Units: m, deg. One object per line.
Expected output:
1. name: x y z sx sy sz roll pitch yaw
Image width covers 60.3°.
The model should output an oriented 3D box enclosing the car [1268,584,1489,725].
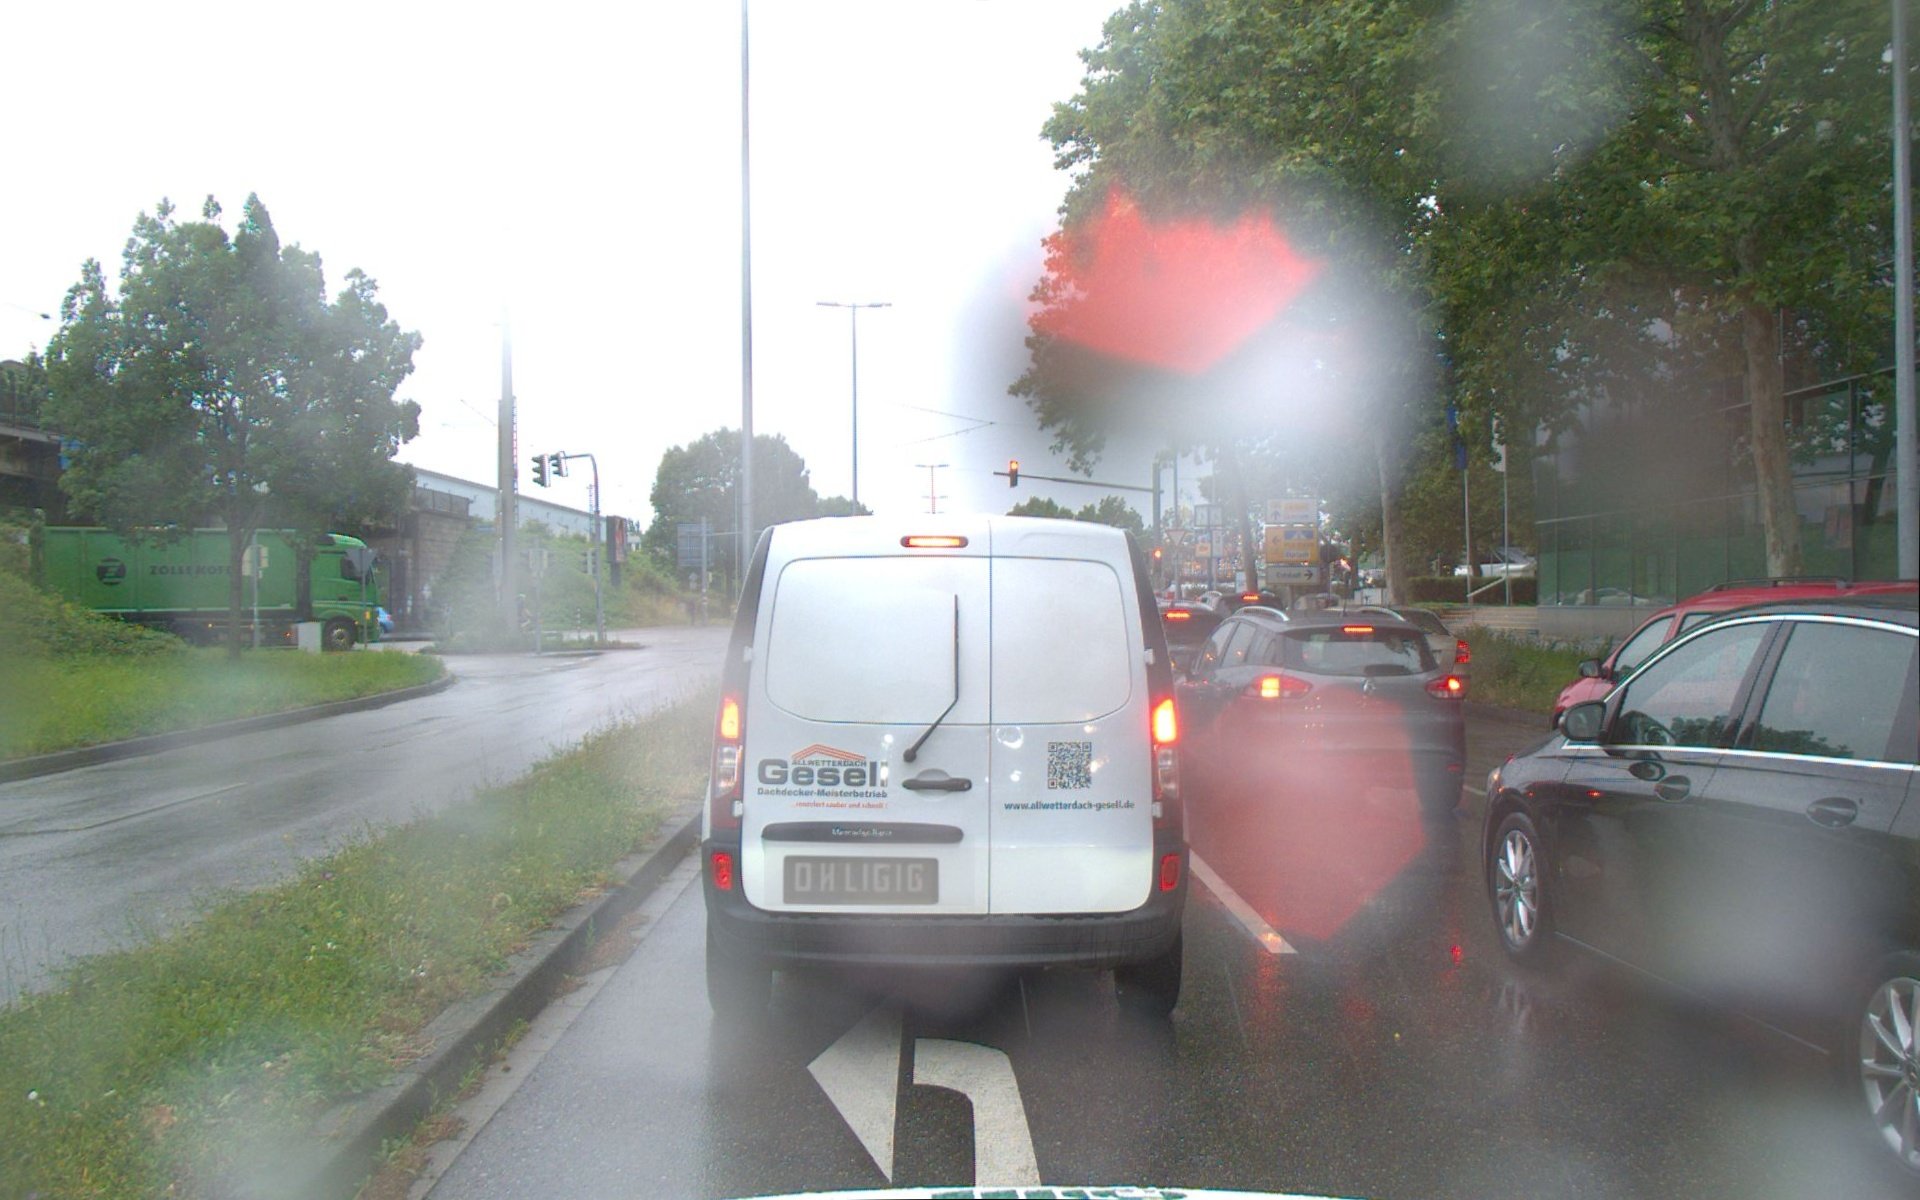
1. car: 5.423 0.641 21.959 1.838 1.641 3.999 2 1 -1

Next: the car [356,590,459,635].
1. car: -24.808 0.535 74.341 1.963 1.920 3.980 2 1 39

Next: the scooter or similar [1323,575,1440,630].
1. scooter or similar: 19.671 0.102 77.359 1.878 2.489 5.239 0 0 -41

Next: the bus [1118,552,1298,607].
1. bus: 16.600 -1.393 111.151 11.727 3.483 2.315 -1 1 -1

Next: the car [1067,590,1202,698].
1. car: 2.870 0.682 27.893 1.816 1.678 3.842 0 0 -1

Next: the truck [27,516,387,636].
1. truck: -23.146 -0.725 51.314 9.956 3.430 2.316 0 0 -37

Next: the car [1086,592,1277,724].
1. car: 2.658 0.647 20.663 1.816 1.486 3.842 0 0 -1

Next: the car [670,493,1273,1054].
1. car: 0.009 0.542 7.643 1.953 1.807 4.584 0 0 -1

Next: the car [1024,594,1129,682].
1. car: 2.306 0.734 33.547 1.816 1.678 3.842 0 0 -1

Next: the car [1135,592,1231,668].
1. car: 5.169 0.682 38.701 1.674 1.678 3.842 1 0 -1

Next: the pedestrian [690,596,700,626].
1. pedestrian: -15.345 0.624 95.730 0.532 1.746 0.563 1 -1 -5

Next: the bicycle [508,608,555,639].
1. bicycle: -14.345 0.762 55.348 1.027 0.968 2.866 -1 1 -25

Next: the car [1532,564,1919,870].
1. car: 5.686 0.689 11.531 1.677 1.724 4.268 1 -1 -4

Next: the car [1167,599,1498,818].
1. car: 2.766 0.736 13.109 1.649 1.433 3.842 1 0 -2

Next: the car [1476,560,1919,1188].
1. car: 3.242 0.691 5.447 1.712 1.582 4.089 0 0 -2

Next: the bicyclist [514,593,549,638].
1. bicyclist: -14.329 0.512 55.304 1.028 1.475 0.723 -1 1 -26

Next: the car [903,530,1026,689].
1. car: 0.046 0.125 26.352 1.816 2.336 3.842 0 0 -1
